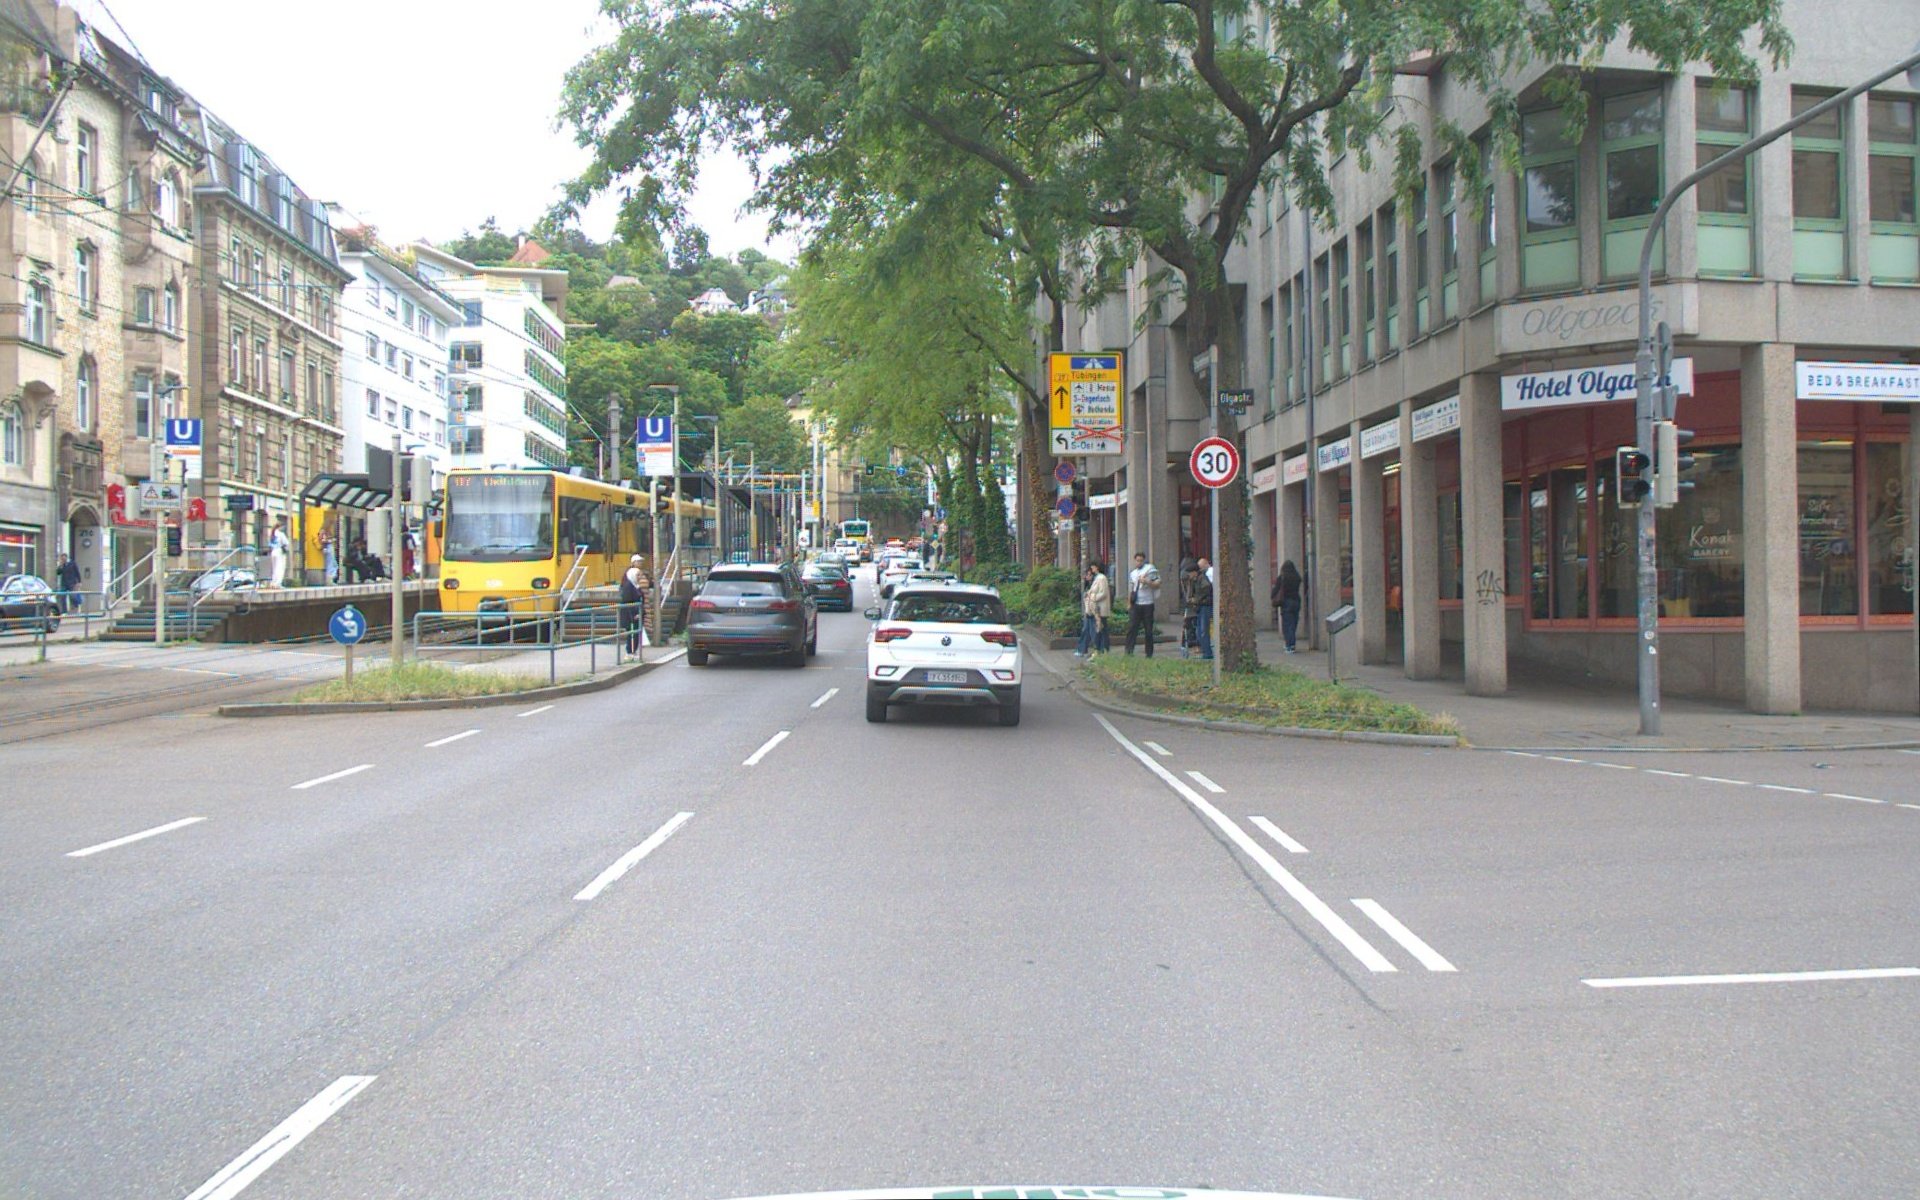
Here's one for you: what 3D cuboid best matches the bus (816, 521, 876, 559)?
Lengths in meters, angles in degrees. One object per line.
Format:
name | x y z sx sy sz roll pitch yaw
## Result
bus | -10.742 -5.507 154.567 3.315 3.118 13.275 1 0 -14

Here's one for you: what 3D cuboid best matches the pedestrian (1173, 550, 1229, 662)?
pedestrian | 4.098 0.082 28.151 0.707 1.834 0.833 -2 3 -7

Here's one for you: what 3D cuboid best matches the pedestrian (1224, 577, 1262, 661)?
pedestrian | 4.644 0.313 27.129 0.462 1.357 0.519 1 0 -7

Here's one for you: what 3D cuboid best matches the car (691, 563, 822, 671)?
car | -3.397 0.225 28.284 1.954 1.664 3.998 0 2 -3

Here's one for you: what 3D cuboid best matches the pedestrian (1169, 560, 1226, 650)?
pedestrian | 4.271 0.087 29.748 0.820 1.590 0.763 1 0 -7

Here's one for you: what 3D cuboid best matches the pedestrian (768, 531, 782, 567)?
pedestrian | -10.744 -2.965 96.115 0.748 2.049 0.836 1 0 -10

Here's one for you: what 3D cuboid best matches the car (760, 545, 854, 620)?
car | -4.424 -0.508 48.650 2.316 2.049 5.147 1 0 -1

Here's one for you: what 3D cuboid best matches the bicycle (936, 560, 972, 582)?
bicycle | -0.324 -1.550 88.650 1.841 1.157 0.808 1 0 3

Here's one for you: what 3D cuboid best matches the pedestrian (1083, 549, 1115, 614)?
pedestrian | 4.054 -0.550 48.365 0.747 1.813 0.847 -2 3 -8

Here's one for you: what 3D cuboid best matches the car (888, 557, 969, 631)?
car | -0.830 -0.147 41.134 1.847 1.713 4.159 1 0 -3

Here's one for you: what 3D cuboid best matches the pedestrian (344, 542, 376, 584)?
pedestrian | -16.544 -1.022 45.611 0.622 1.127 0.690 0 1 -3

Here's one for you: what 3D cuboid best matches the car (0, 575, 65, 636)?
car | -22.705 0.136 38.474 1.598 1.399 3.784 -2 1 2

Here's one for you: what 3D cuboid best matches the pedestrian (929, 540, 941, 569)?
pedestrian | -1.798 -3.270 119.390 0.746 2.049 0.838 1 0 2

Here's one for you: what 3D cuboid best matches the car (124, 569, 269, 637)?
car | -19.323 0.063 42.058 1.869 1.601 3.999 1 0 -1

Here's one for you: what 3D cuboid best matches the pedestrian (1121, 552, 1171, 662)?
pedestrian | 3.269 0.121 29.102 0.720 1.907 0.732 0 0 -7

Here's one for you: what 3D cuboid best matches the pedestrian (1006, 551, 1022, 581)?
pedestrian | 2.930 -1.849 89.851 0.627 1.636 0.583 1 0 -23

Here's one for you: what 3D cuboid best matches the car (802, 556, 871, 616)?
car | -3.806 -0.466 51.688 1.873 1.718 4.000 1 2 -1

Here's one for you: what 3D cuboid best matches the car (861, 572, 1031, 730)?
car | -0.130 0.509 19.871 1.800 1.611 4.158 1 2 1

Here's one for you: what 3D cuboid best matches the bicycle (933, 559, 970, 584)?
bicycle | -0.431 -1.487 87.012 1.841 1.288 0.765 1 0 8

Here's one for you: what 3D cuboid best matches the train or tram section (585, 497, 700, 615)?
train or tram section | -10.261 -1.412 53.989 2.778 3.582 5.750 1 1 -2

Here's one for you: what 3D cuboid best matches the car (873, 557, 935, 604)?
car | -2.208 -0.734 64.093 1.850 1.713 4.152 1 0 -9

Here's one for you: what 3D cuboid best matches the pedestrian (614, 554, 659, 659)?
pedestrian | -5.454 0.100 27.932 0.622 1.741 0.871 0 1 -3

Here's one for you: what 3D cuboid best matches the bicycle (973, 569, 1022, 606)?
bicycle | 1.238 -0.414 55.107 1.587 1.147 0.613 -2 1 1

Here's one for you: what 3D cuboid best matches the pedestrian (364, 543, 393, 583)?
pedestrian | -16.595 -1.056 47.214 0.622 1.127 0.690 0 1 -3

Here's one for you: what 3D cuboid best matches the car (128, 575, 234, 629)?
car | -23.530 0.046 50.069 1.527 1.550 3.599 1 0 -1

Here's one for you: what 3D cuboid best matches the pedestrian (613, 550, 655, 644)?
pedestrian | -6.097 -0.061 30.958 0.672 1.741 0.711 0 1 -3

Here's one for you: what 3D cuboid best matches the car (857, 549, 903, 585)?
car | -4.855 -1.952 99.982 2.320 2.049 5.139 1 0 -8

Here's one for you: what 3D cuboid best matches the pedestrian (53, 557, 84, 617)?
pedestrian | -26.924 -0.388 49.949 0.832 1.793 0.624 0 0 45

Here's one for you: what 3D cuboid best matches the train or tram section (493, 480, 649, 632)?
train or tram section | -9.850 -1.111 42.465 2.778 3.582 5.750 1 1 -2

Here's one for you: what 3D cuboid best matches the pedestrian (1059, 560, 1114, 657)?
pedestrian | 2.322 0.144 30.469 0.820 1.733 0.763 -2 1 -7

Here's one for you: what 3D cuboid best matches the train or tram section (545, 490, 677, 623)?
train or tram section | -10.067 -1.255 48.213 2.778 3.582 5.750 1 1 -2

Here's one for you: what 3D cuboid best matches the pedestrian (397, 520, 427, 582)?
pedestrian | -15.972 -1.433 48.227 0.614 1.793 0.846 0 0 -2

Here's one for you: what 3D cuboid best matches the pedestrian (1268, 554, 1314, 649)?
pedestrian | 5.878 0.021 29.415 0.745 1.640 0.619 -1 3 9

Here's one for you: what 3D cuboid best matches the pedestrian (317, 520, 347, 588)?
pedestrian | -16.170 -1.179 42.604 0.624 1.741 0.688 0 1 -12

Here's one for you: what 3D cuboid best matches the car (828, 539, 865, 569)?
car | -8.374 -3.372 122.202 2.316 2.049 5.148 1 0 1

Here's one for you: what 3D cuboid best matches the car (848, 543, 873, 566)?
car | -8.033 -3.645 133.949 1.847 1.713 4.159 1 0 -2

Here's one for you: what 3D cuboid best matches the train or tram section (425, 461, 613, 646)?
train or tram section | -9.626 -1.011 36.705 2.778 3.742 5.750 1 1 -2

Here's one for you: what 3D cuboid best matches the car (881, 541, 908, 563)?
car | -5.334 -3.874 133.918 1.849 1.713 4.155 1 0 -7

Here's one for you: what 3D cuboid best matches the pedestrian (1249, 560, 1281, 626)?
pedestrian | 8.328 -0.199 45.153 0.746 1.753 0.677 -1 2 -1

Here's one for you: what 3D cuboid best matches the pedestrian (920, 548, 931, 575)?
pedestrian | -2.664 -3.001 127.625 0.746 2.049 0.838 1 0 2

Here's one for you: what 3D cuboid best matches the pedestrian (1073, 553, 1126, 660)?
pedestrian | 2.465 0.108 29.252 0.680 1.808 0.688 -4 1 -7

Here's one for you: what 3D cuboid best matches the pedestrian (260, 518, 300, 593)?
pedestrian | -15.843 -1.042 38.561 0.674 1.741 0.661 0 1 -4

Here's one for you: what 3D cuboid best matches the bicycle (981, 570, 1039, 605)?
bicycle | 1.715 -0.423 56.352 1.879 1.095 0.612 -2 1 -6

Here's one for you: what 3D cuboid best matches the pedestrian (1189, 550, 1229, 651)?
pedestrian | 4.560 0.001 30.317 0.508 1.820 0.763 1 0 -7

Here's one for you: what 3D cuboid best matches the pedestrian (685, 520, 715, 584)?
pedestrian | -7.244 -1.331 46.059 0.703 1.761 0.670 1 0 -2

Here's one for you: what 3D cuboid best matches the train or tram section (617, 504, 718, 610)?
train or tram section | -10.476 -1.538 59.742 2.778 3.582 5.750 1 1 -2
